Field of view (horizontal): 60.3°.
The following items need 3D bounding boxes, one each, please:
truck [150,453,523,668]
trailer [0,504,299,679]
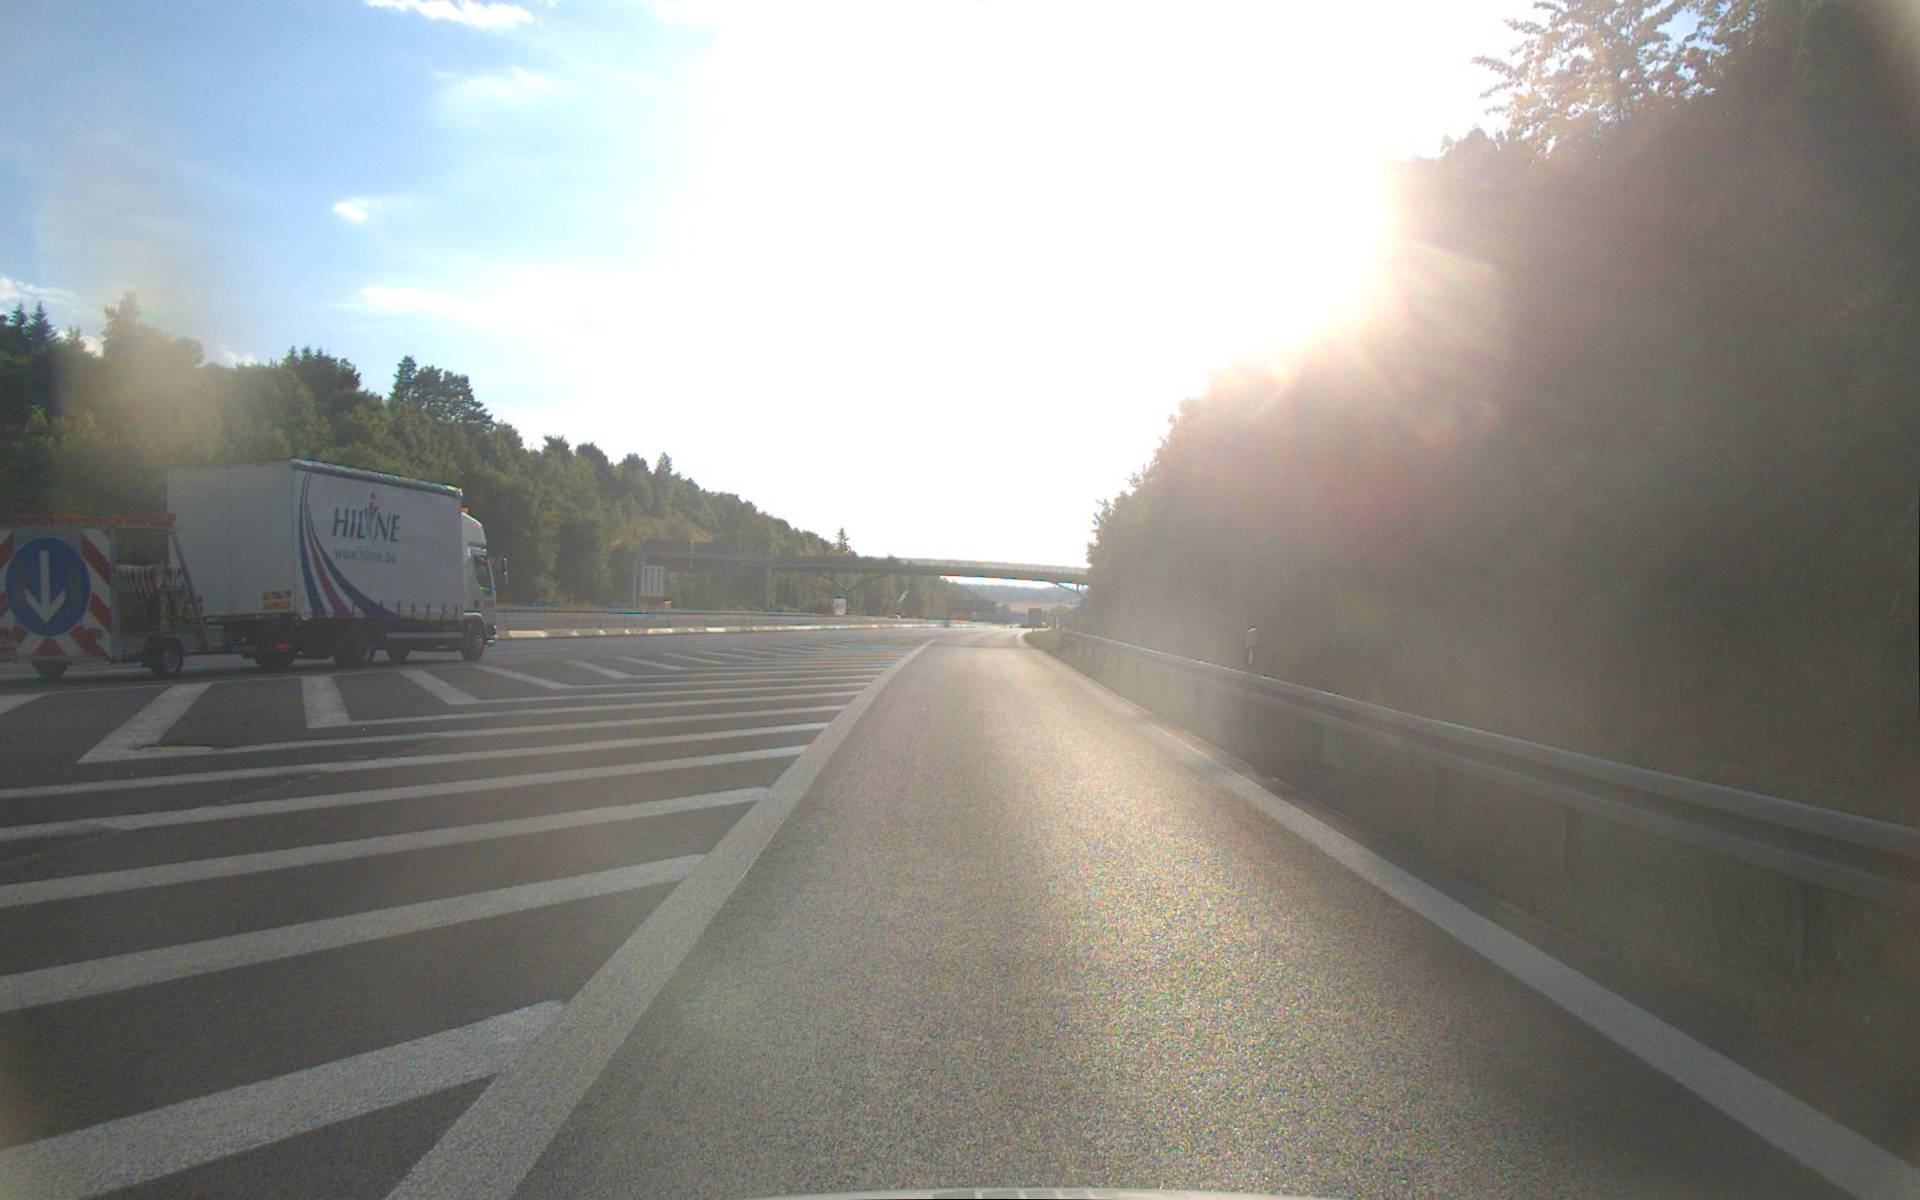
[{"bbox_3d":[-12.625,-0.715,34.852,2.858,3.855,9.673,1,0,9],"label":"truck"},{"bbox_3d":[-13.768,-0.137,27.719,2.858,2.623,4.819,1,0,9],"label":"trailer"}]
